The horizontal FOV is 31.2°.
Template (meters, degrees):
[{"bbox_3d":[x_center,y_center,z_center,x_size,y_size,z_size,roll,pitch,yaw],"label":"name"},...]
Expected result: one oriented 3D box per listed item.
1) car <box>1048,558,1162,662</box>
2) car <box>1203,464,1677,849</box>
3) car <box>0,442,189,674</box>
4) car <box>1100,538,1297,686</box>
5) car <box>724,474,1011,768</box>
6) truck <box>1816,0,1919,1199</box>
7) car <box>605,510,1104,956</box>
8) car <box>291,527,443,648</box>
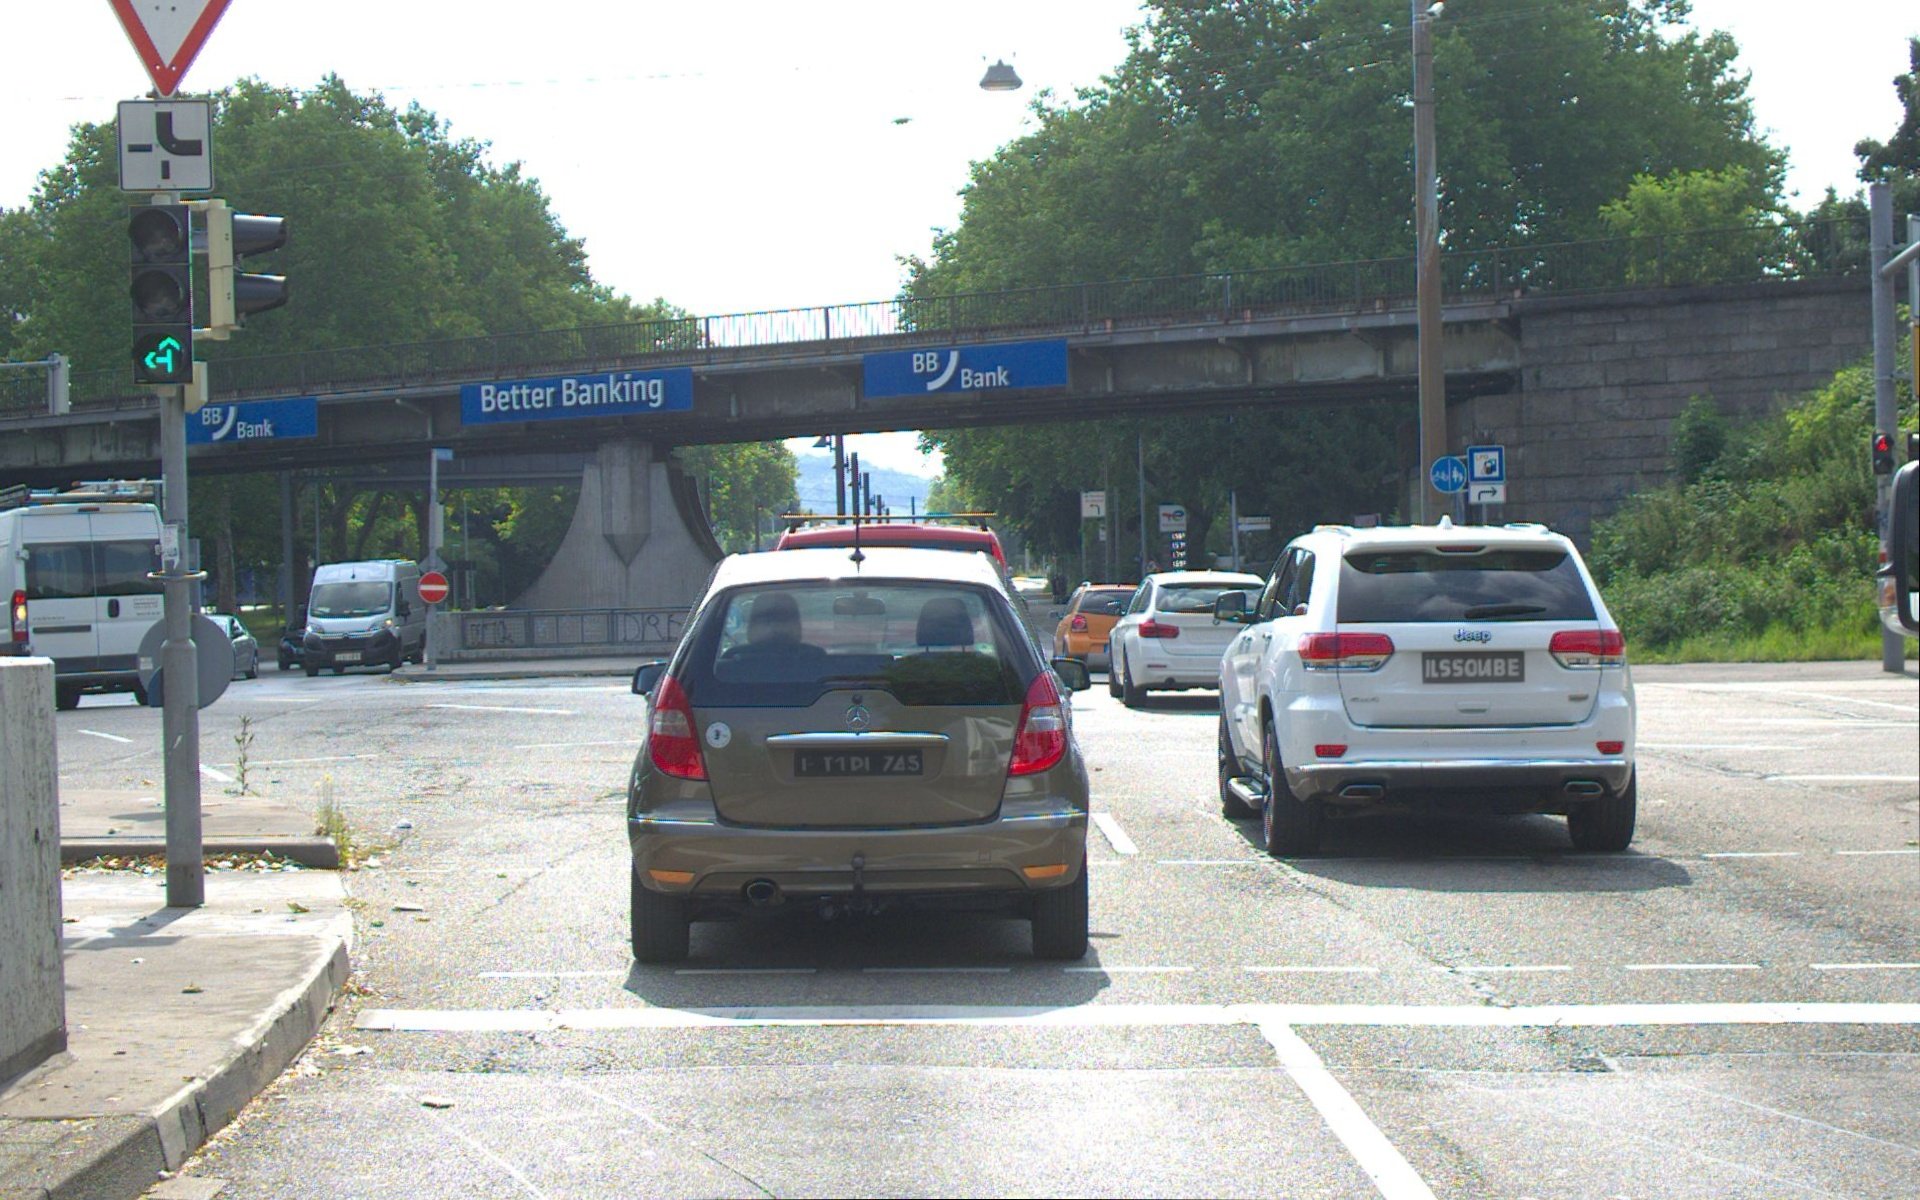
[{"bbox_3d":[2.186,0.128,52.442,1.544,1.516,3.617,-1,1,0],"label":"car"},{"bbox_3d":[2.543,0.246,19.328,1.995,1.895,4.509,-1,1,0],"label":"car"},{"bbox_3d":[-11.491,-0.516,42.959,2.197,2.717,4.931,-1,1,-30],"label":"car"},{"bbox_3d":[2.535,0.103,37.309,1.852,1.516,3.617,-1,1,0],"label":"car"},{"bbox_3d":[-0.651,0.076,25.871,1.955,2.010,4.677,0,2,0],"label":"car"},{"bbox_3d":[3.061,-0.117,4.346,2.447,3.110,6.028,-1,1,0],"label":"truck"},{"bbox_3d":[-0.391,0.454,14.251,1.792,1.603,3.799,0,1,0],"label":"car"},{"bbox_3d":[-13.134,-0.321,76.531,2.258,2.517,5.627,-2,1,1],"label":"car"}]
